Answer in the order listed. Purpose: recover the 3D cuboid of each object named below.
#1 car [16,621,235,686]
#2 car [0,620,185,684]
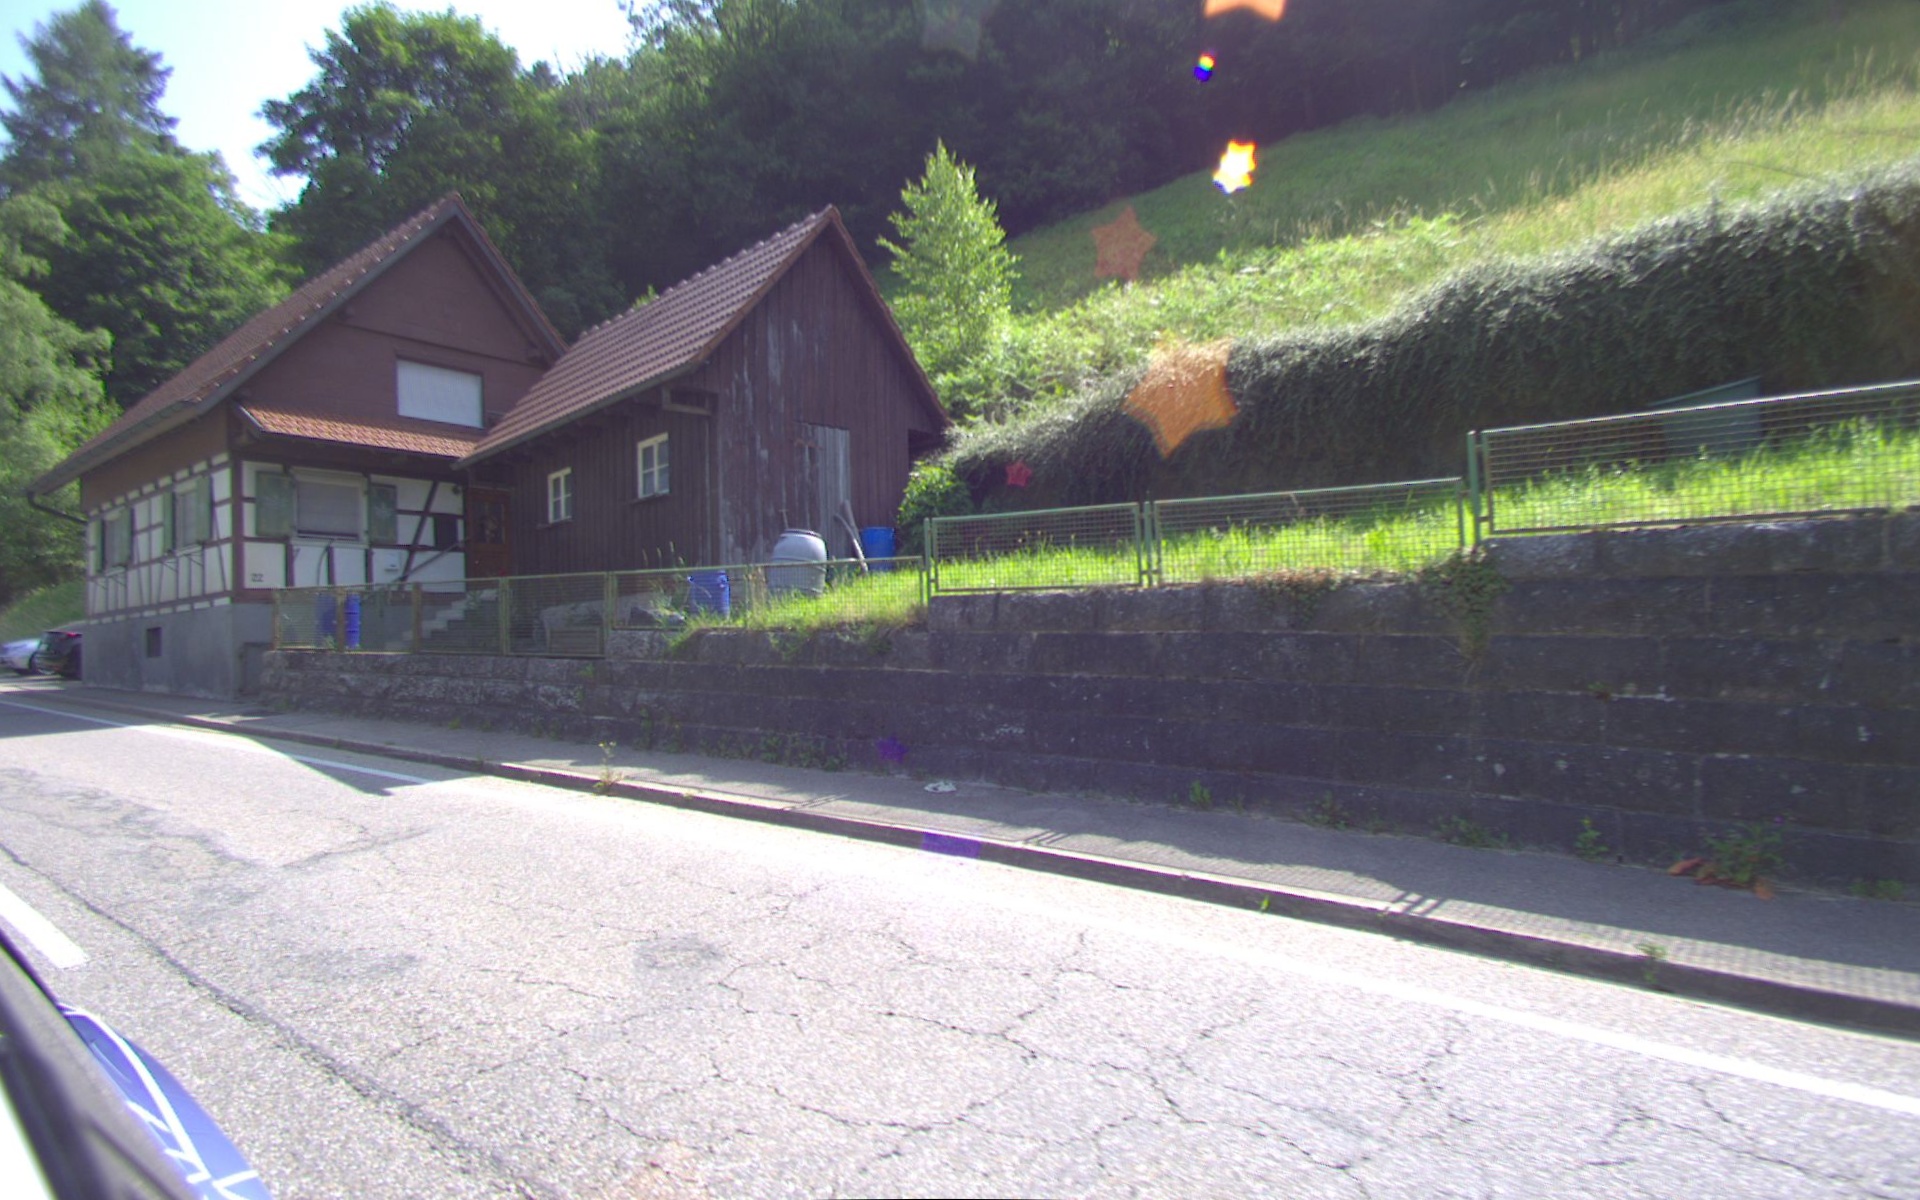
[{"bbox_3d":[-20.408,1.252,24.895,1.858,1.444,3.786,0,-1,33],"label":"car"},{"bbox_3d":[-22.690,1.285,26.197,1.851,1.427,3.787,-1,0,32],"label":"car"}]
